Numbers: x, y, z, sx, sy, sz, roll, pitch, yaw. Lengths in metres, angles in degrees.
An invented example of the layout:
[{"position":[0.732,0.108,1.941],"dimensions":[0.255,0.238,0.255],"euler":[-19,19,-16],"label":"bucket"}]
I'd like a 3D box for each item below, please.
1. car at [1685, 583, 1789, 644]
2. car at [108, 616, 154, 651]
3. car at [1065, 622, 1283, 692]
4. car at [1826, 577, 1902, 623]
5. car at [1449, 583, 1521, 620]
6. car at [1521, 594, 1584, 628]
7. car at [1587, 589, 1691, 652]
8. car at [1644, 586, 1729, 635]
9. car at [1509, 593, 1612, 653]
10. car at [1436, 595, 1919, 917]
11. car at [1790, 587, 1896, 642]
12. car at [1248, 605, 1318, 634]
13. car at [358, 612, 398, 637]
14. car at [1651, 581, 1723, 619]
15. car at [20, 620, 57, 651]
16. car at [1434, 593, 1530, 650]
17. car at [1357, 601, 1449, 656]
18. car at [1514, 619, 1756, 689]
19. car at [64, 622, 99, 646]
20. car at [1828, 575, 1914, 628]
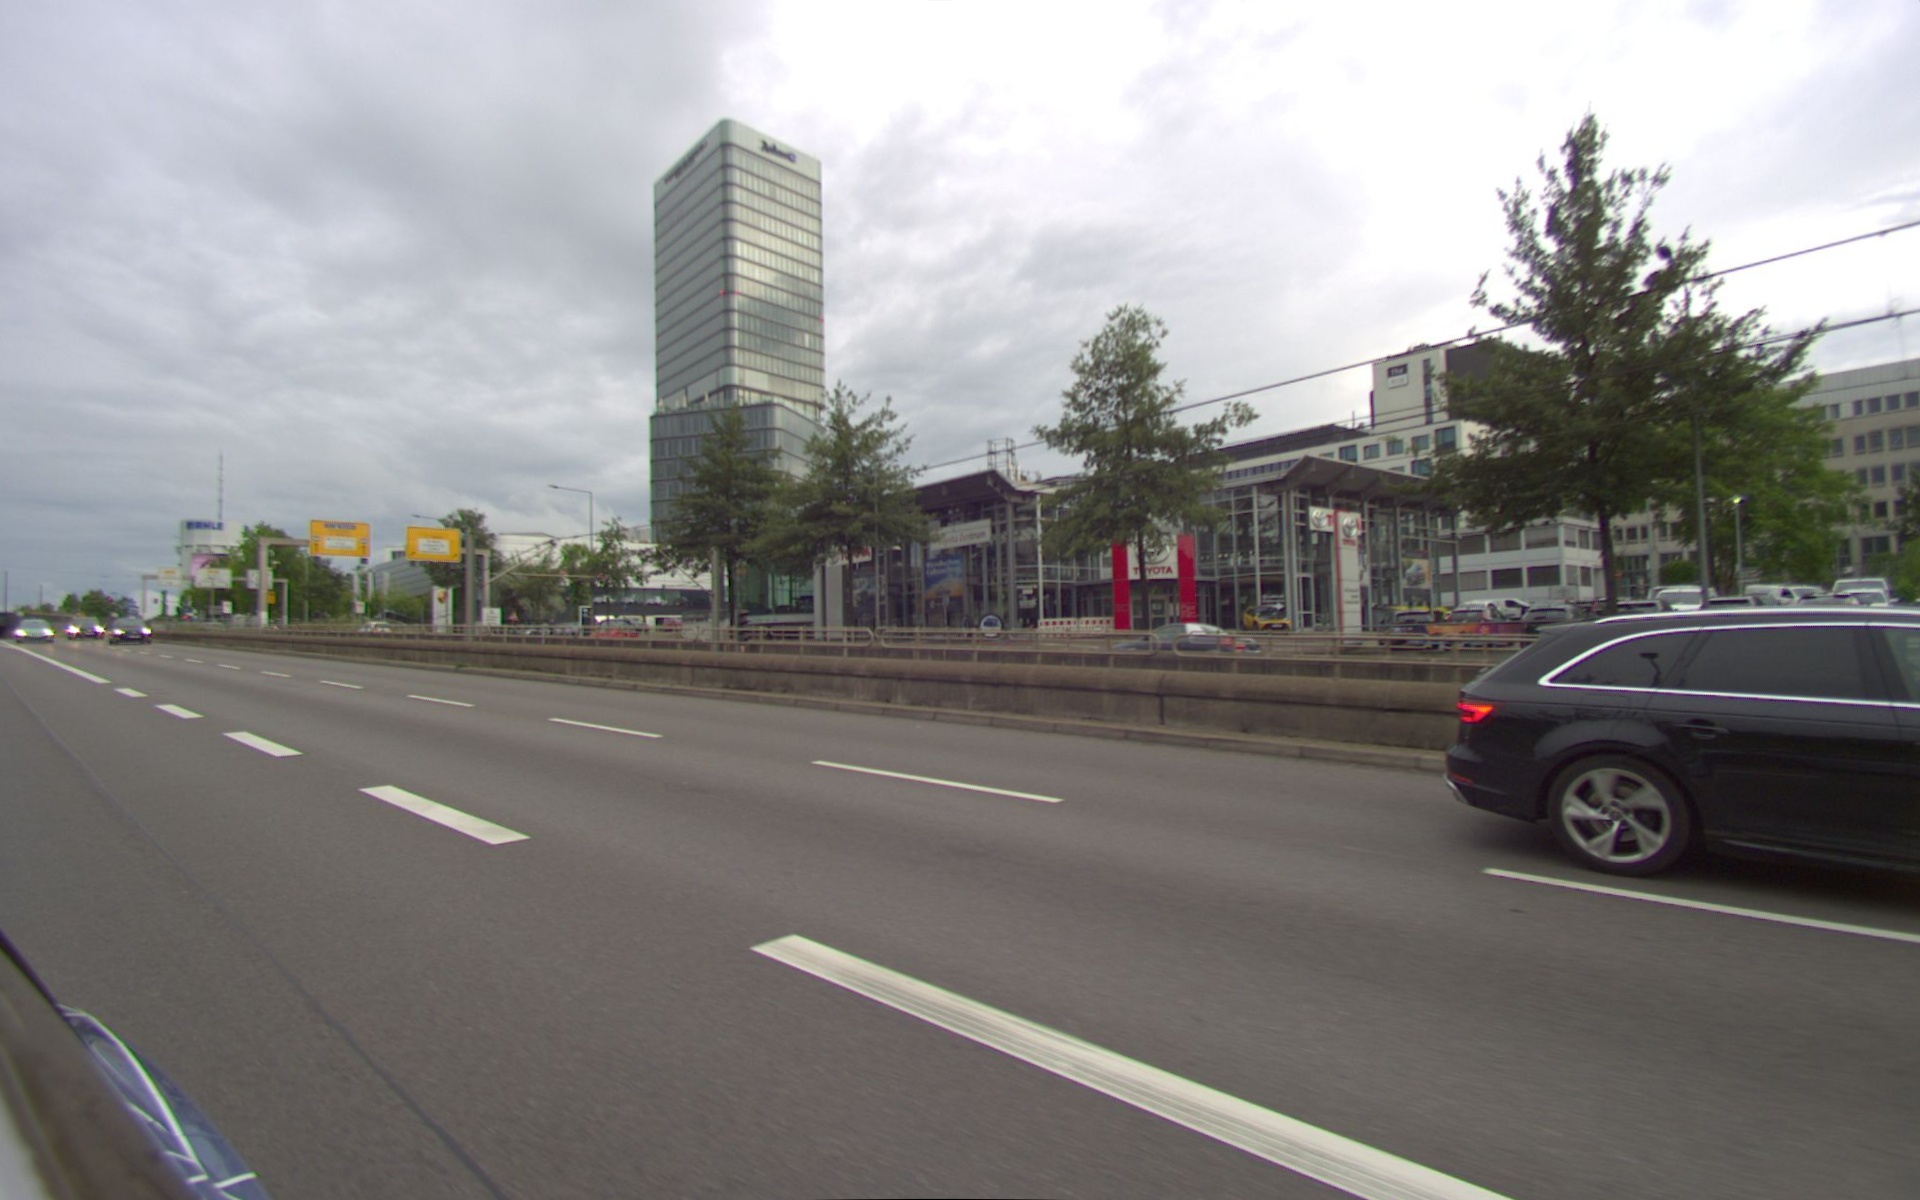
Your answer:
[{"position":[24.485,0.394,31.848],"dimensions":[4.136,1.785,1.887],"euler":[-1,0,-42],"label":"car"},{"position":[-47.589,1.902,58.046],"dimensions":[1.768,1.882,4.382],"euler":[-1,0,-43],"label":"car"},{"position":[4.932,1.258,23.919],"dimensions":[1.769,1.411,4.879],"euler":[-1,0,-44],"label":"car"},{"position":[37.191,-0.026,41.608],"dimensions":[4.300,1.784,1.887],"euler":[-1,0,-42],"label":"car"},{"position":[27.067,0.057,52.142],"dimensions":[4.300,1.828,1.887],"euler":[-1,0,-42],"label":"car"},{"position":[34.044,0.623,58.081],"dimensions":[4.300,1.828,1.887],"euler":[-1,0,-42],"label":"car"},{"position":[22.709,0.630,33.805],"dimensions":[4.300,1.962,1.887],"euler":[-1,0,-42],"label":"car"},{"position":[29.009,0.390,40.362],"dimensions":[4.300,1.828,1.887],"euler":[-1,0,-42],"label":"car"},{"position":[21.052,0.752,35.418],"dimensions":[4.300,1.962,1.887],"euler":[-1,0,-42],"label":"car"},{"position":[5.120,0.682,4.860],"dimensions":[1.765,1.424,4.809],"euler":[0,-1,-44],"label":"car"},{"position":[26.445,0.394,30.265],"dimensions":[4.300,1.515,1.887],"euler":[-1,0,-42],"label":"car"},{"position":[16.963,1.008,53.038],"dimensions":[3.939,1.417,1.762],"euler":[-1,0,-42],"label":"car"},{"position":[-45.291,1.889,78.703],"dimensions":[1.768,1.882,4.382],"euler":[-1,0,-43],"label":"car"},{"position":[32.322,-0.019,44.979],"dimensions":[3.861,1.605,1.804],"euler":[-1,0,-42],"label":"car"},{"position":[-60.437,2.274,66.359],"dimensions":[1.768,1.882,4.382],"euler":[-1,0,-43],"label":"car"},{"position":[19.480,0.749,37.693],"dimensions":[4.302,1.962,1.887],"euler":[-1,0,-44],"label":"car"},{"position":[17.342,1.064,39.543],"dimensions":[4.165,1.962,1.866],"euler":[-1,0,-44],"label":"car"},{"position":[14.586,1.107,22.029],"dimensions":[1.746,1.319,4.115],"euler":[-1,0,-44],"label":"car"},{"position":[-62.802,2.406,72.323],"dimensions":[1.768,1.556,4.382],"euler":[-1,0,-43],"label":"car"},{"position":[33.100,0.032,36.730],"dimensions":[4.300,1.828,1.887],"euler":[-1,0,-42],"label":"car"}]
